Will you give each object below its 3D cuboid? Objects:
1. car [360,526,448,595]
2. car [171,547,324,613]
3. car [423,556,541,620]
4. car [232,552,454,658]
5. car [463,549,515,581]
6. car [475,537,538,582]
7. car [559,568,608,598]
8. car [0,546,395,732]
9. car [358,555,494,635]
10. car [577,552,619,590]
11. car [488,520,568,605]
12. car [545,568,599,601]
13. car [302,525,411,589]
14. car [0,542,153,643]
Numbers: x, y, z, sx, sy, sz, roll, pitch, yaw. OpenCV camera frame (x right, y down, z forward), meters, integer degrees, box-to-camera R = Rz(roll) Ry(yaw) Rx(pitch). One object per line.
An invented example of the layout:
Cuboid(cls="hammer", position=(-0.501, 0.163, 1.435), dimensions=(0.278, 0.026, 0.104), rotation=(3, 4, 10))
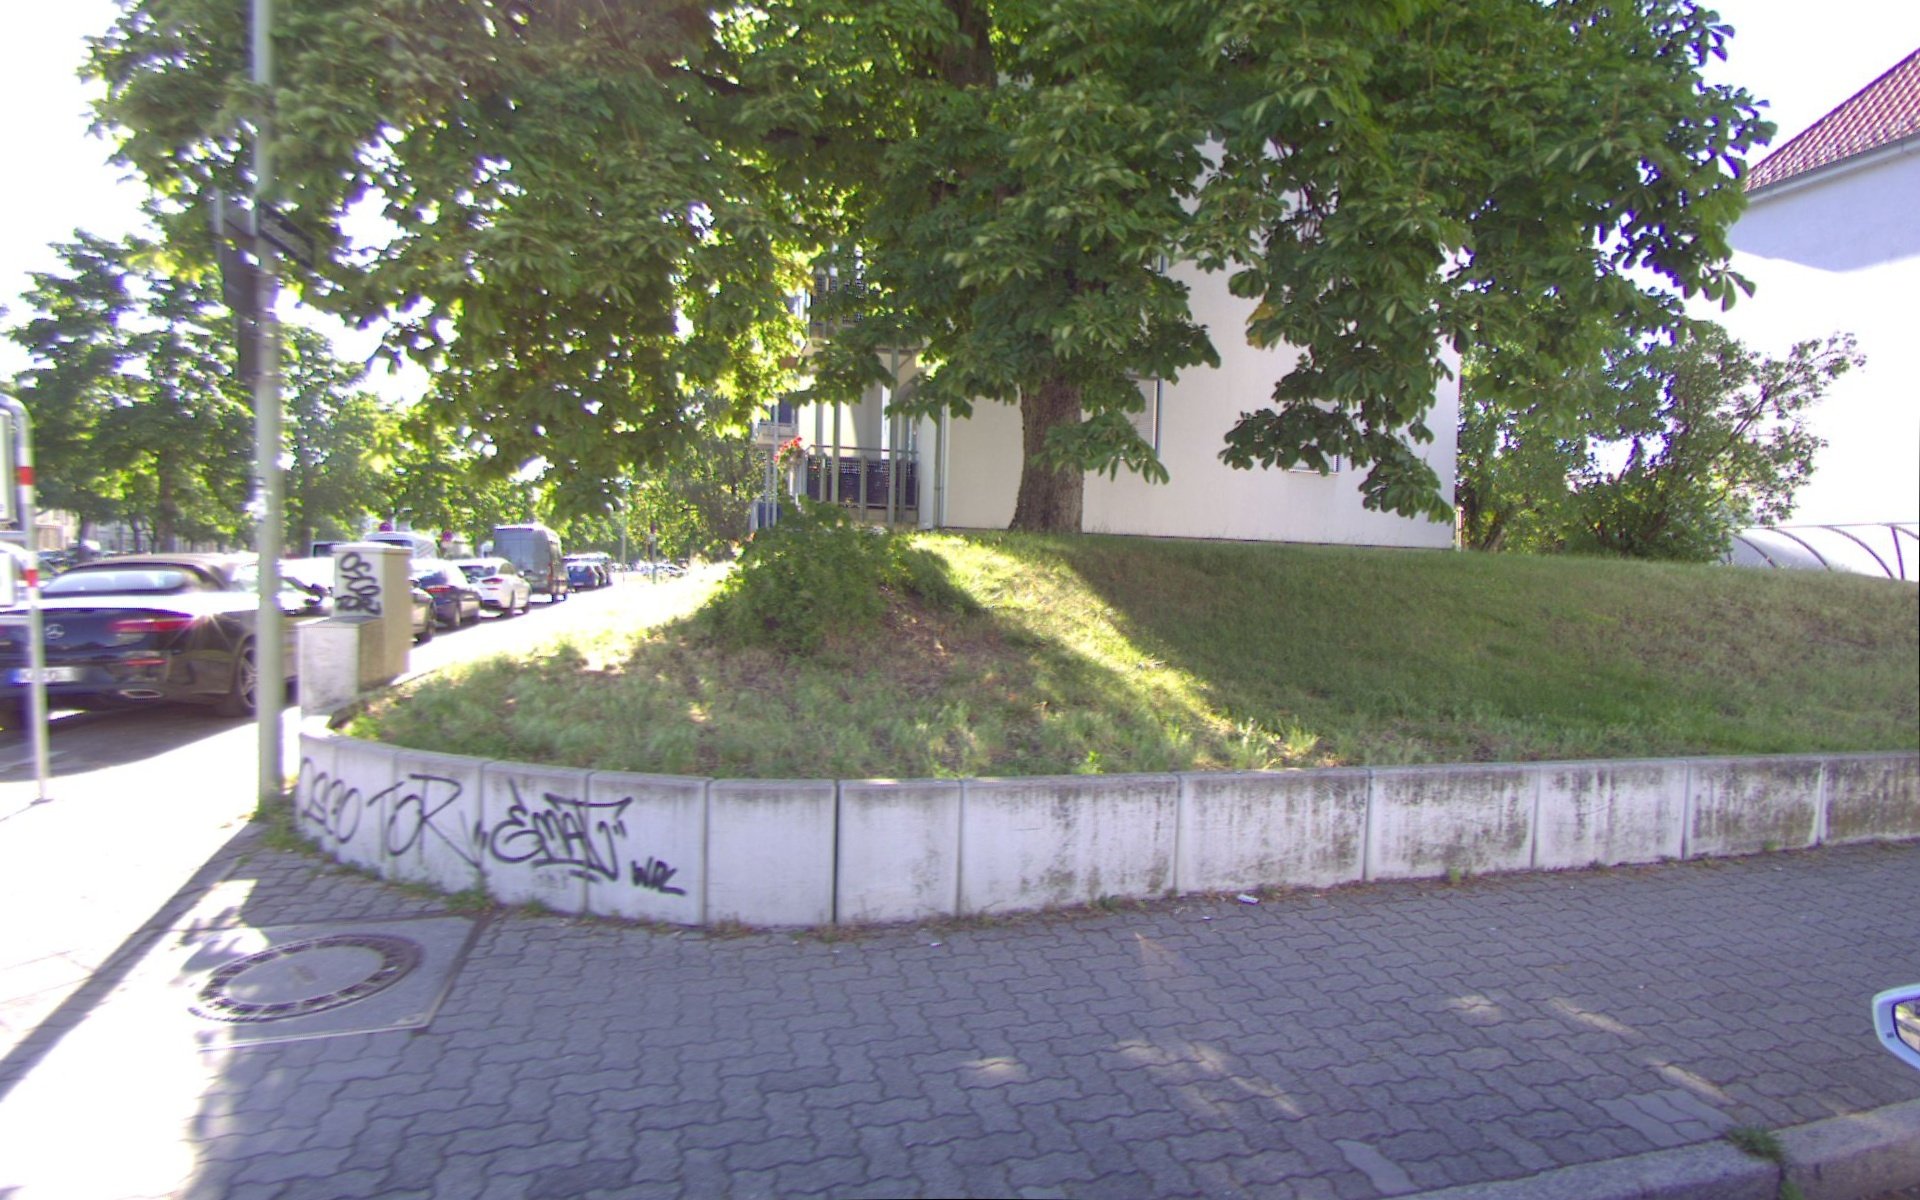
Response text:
Cuboid(cls="car", position=(-22.050, -1.544, 40.013), dimensions=(2.070, 2.530, 4.114), rotation=(1, 2, -14))
Cuboid(cls="car", position=(-18.092, -0.537, 25.753), dimensions=(1.808, 1.520, 4.114), rotation=(1, 2, -14))
Cuboid(cls="car", position=(-12.337, -0.350, 26.200), dimensions=(1.961, 1.507, 4.114), rotation=(1, 2, -14))
Cuboid(cls="car", position=(-9.296, 0.011, 15.531), dimensions=(1.755, 1.389, 4.114), rotation=(1, 2, -14))
Cuboid(cls="car", position=(-27.574, -2.047, 58.948), dimensions=(1.982, 1.810, 4.114), rotation=(1, 2, -14))
Cuboid(cls="car", position=(-28.978, -2.552, 64.398), dimensions=(2.581, 2.681, 6.095), rotation=(1, 2, -14))
Cuboid(cls="car", position=(-20.109, -0.924, 53.786), dimensions=(1.961, 1.507, 4.114), rotation=(1, 2, -14))
Cuboid(cls="car", position=(-7.287, 0.214, 9.627), dimensions=(2.096, 1.355, 4.492), rotation=(-1, 2, -14))
Cuboid(cls="car", position=(-11.181, -0.160, 21.292), dimensions=(1.756, 1.507, 4.016), rotation=(1, 2, -17))
Cuboid(cls="car", position=(-23.068, -1.861, 64.204), dimensions=(2.134, 2.323, 5.247), rotation=(1, 2, -16))
Cuboid(cls="car", position=(-15.286, -1.323, 35.808), dimensions=(2.136, 2.725, 5.393), rotation=(1, 2, -18))
Cuboid(cls="car", position=(-19.067, -0.795, 49.458), dimensions=(1.961, 1.507, 4.114), rotation=(1, 2, -14))
Cuboid(cls="car", position=(-20.227, -1.424, 33.888), dimensions=(2.070, 1.969, 4.113), rotation=(1, 2, -15))
Cuboid(cls="car", position=(-15.307, -0.199, 16.398), dimensions=(1.755, 1.481, 4.114), rotation=(1, 2, -14))
